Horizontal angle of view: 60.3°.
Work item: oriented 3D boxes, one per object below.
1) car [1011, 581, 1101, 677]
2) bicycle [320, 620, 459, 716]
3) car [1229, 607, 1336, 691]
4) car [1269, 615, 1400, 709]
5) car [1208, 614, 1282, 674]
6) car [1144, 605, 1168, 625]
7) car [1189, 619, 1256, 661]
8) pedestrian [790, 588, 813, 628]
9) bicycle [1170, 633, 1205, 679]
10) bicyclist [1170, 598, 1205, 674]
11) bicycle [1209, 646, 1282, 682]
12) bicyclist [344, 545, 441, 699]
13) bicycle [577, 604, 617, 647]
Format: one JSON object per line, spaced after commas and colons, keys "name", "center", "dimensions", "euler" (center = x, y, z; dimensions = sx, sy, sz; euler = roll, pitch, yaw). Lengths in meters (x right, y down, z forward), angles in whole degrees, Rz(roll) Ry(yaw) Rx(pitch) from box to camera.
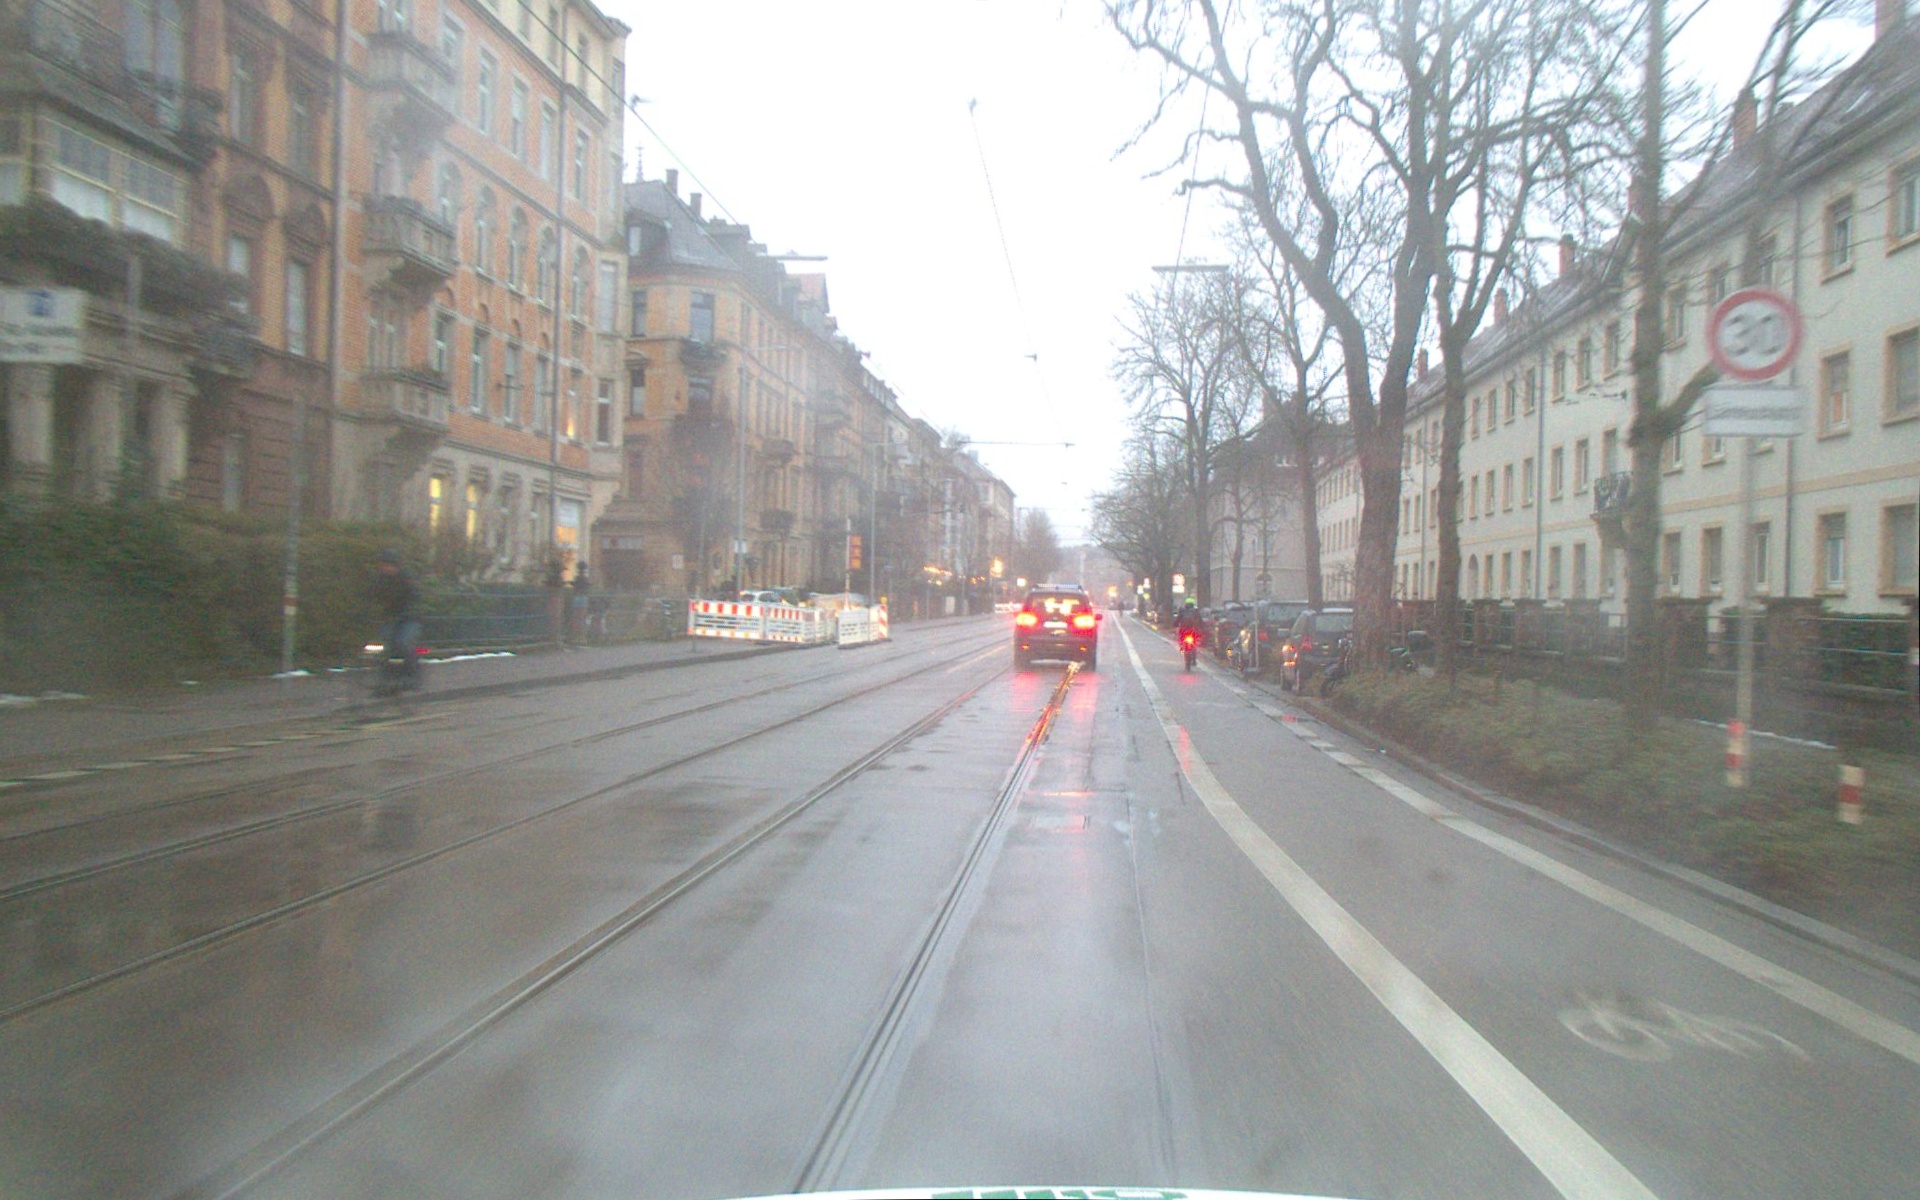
{"name": "car", "center": [2.237, 0.643, 37.565], "dimensions": [1.765, 1.903, 4.020], "euler": [6, 0, 5]}
{"name": "bicycle", "center": [-6.364, 0.733, 18.565], "dimensions": [0.664, 0.989, 1.934], "euler": [3, 0, 6]}
{"name": "car", "center": [7.535, 1.113, 39.073], "dimensions": [1.866, 1.757, 4.905], "euler": [3, 0, 5]}
{"name": "car", "center": [6.802, 1.082, 30.412], "dimensions": [1.748, 1.536, 3.989], "euler": [3, 0, 5]}
{"name": "car", "center": [8.581, 1.288, 50.075], "dimensions": [1.865, 1.638, 4.564], "euler": [3, 0, 6]}
{"name": "car", "center": [15.948, 1.218, 134.717], "dimensions": [1.748, 1.536, 4.111], "euler": [3, 0, 5]}
{"name": "car", "center": [9.609, 1.446, 60.767], "dimensions": [1.840, 1.444, 4.344], "euler": [1, 0, 1]}
{"name": "pedestrian", "center": [-7.334, 0.363, 76.633], "dimensions": [0.711, 1.804, 0.763], "euler": [3, -1, -30]}
{"name": "bicycle", "center": [5.442, 1.319, 39.614], "dimensions": [0.716, 1.024, 1.765], "euler": [3, 0, 6]}
{"name": "bicyclist", "center": [5.438, 0.852, 39.530], "dimensions": [0.715, 1.767, 0.766], "euler": [3, -1, 6]}
{"name": "bicycle", "center": [7.999, 1.792, 46.384], "dimensions": [1.971, 0.932, 0.465], "euler": [2, 0, 14]}
{"name": "bicyclist", "center": [-6.341, 0.245, 18.514], "dimensions": [0.669, 1.644, 0.766], "euler": [3, -1, 6]}
{"name": "bicycle", "center": [-8.323, 0.580, 37.968], "dimensions": [0.258, 0.930, 1.686], "euler": [8, 0, 5]}
